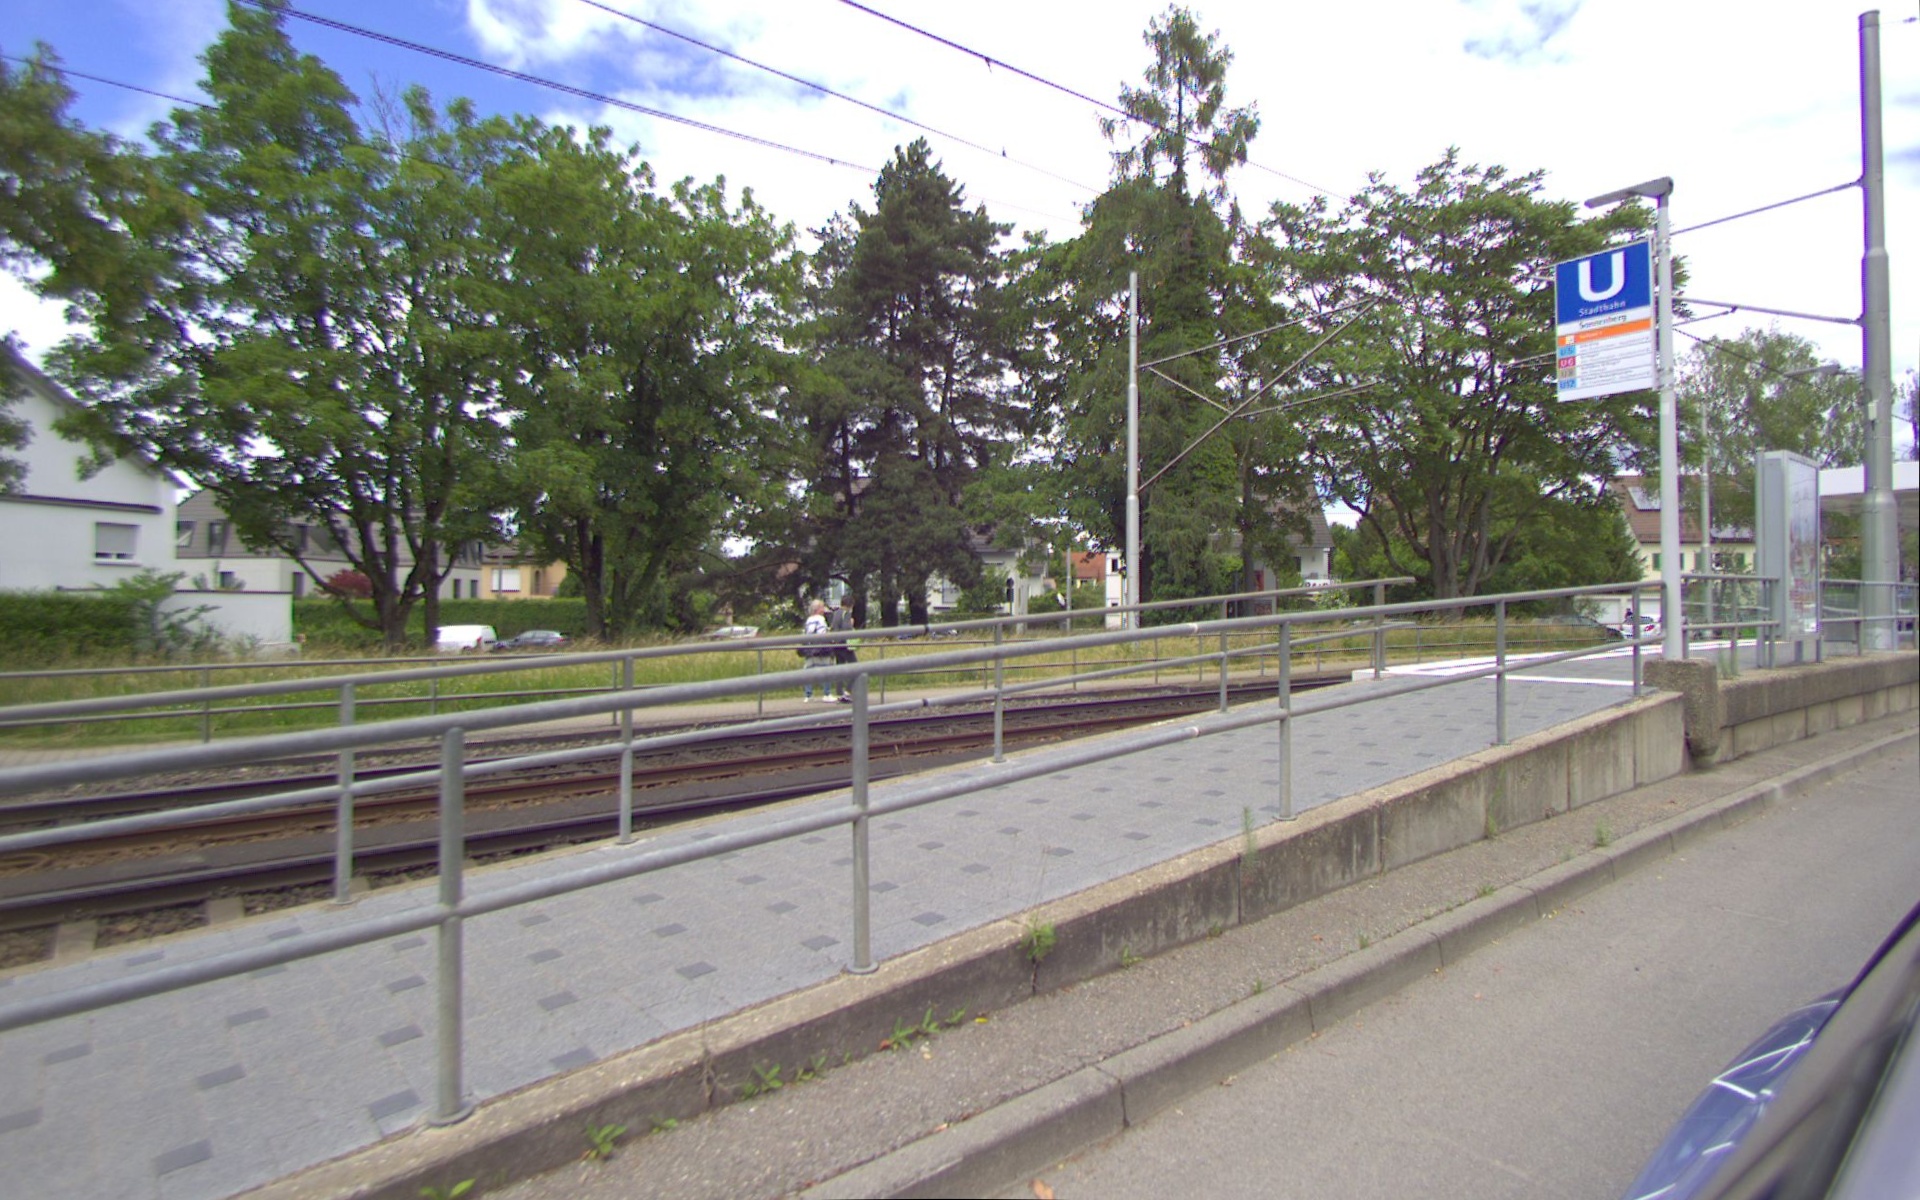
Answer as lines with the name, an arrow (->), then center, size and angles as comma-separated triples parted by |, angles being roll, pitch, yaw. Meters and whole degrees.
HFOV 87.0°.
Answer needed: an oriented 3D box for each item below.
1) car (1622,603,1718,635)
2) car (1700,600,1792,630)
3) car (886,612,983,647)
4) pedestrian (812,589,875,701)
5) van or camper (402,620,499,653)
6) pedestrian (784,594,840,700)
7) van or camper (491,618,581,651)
car -> 32.019, 0.857, 45.642 | 3.919, 1.366, 2.002 | 0, -1, -28
car -> 36.890, 0.690, 47.509 | 3.919, 1.366, 2.002 | 0, -1, -28
car -> -1.142, 1.291, 44.706 | 3.916, 1.458, 1.799 | 0, -1, -21
pedestrian -> -1.754, 0.660, 15.229 | 0.776, 1.643, 0.493 | 0, -1, -39
van or camper -> -27.324, 1.956, 54.358 | 4.252, 1.672, 1.998 | -1, -1, 4
pedestrian -> -2.284, 0.707, 15.628 | 0.680, 1.581, 0.493 | 0, -1, -39
van or camper -> -22.552, 1.810, 53.922 | 3.988, 1.672, 1.996 | -1, -1, 6
